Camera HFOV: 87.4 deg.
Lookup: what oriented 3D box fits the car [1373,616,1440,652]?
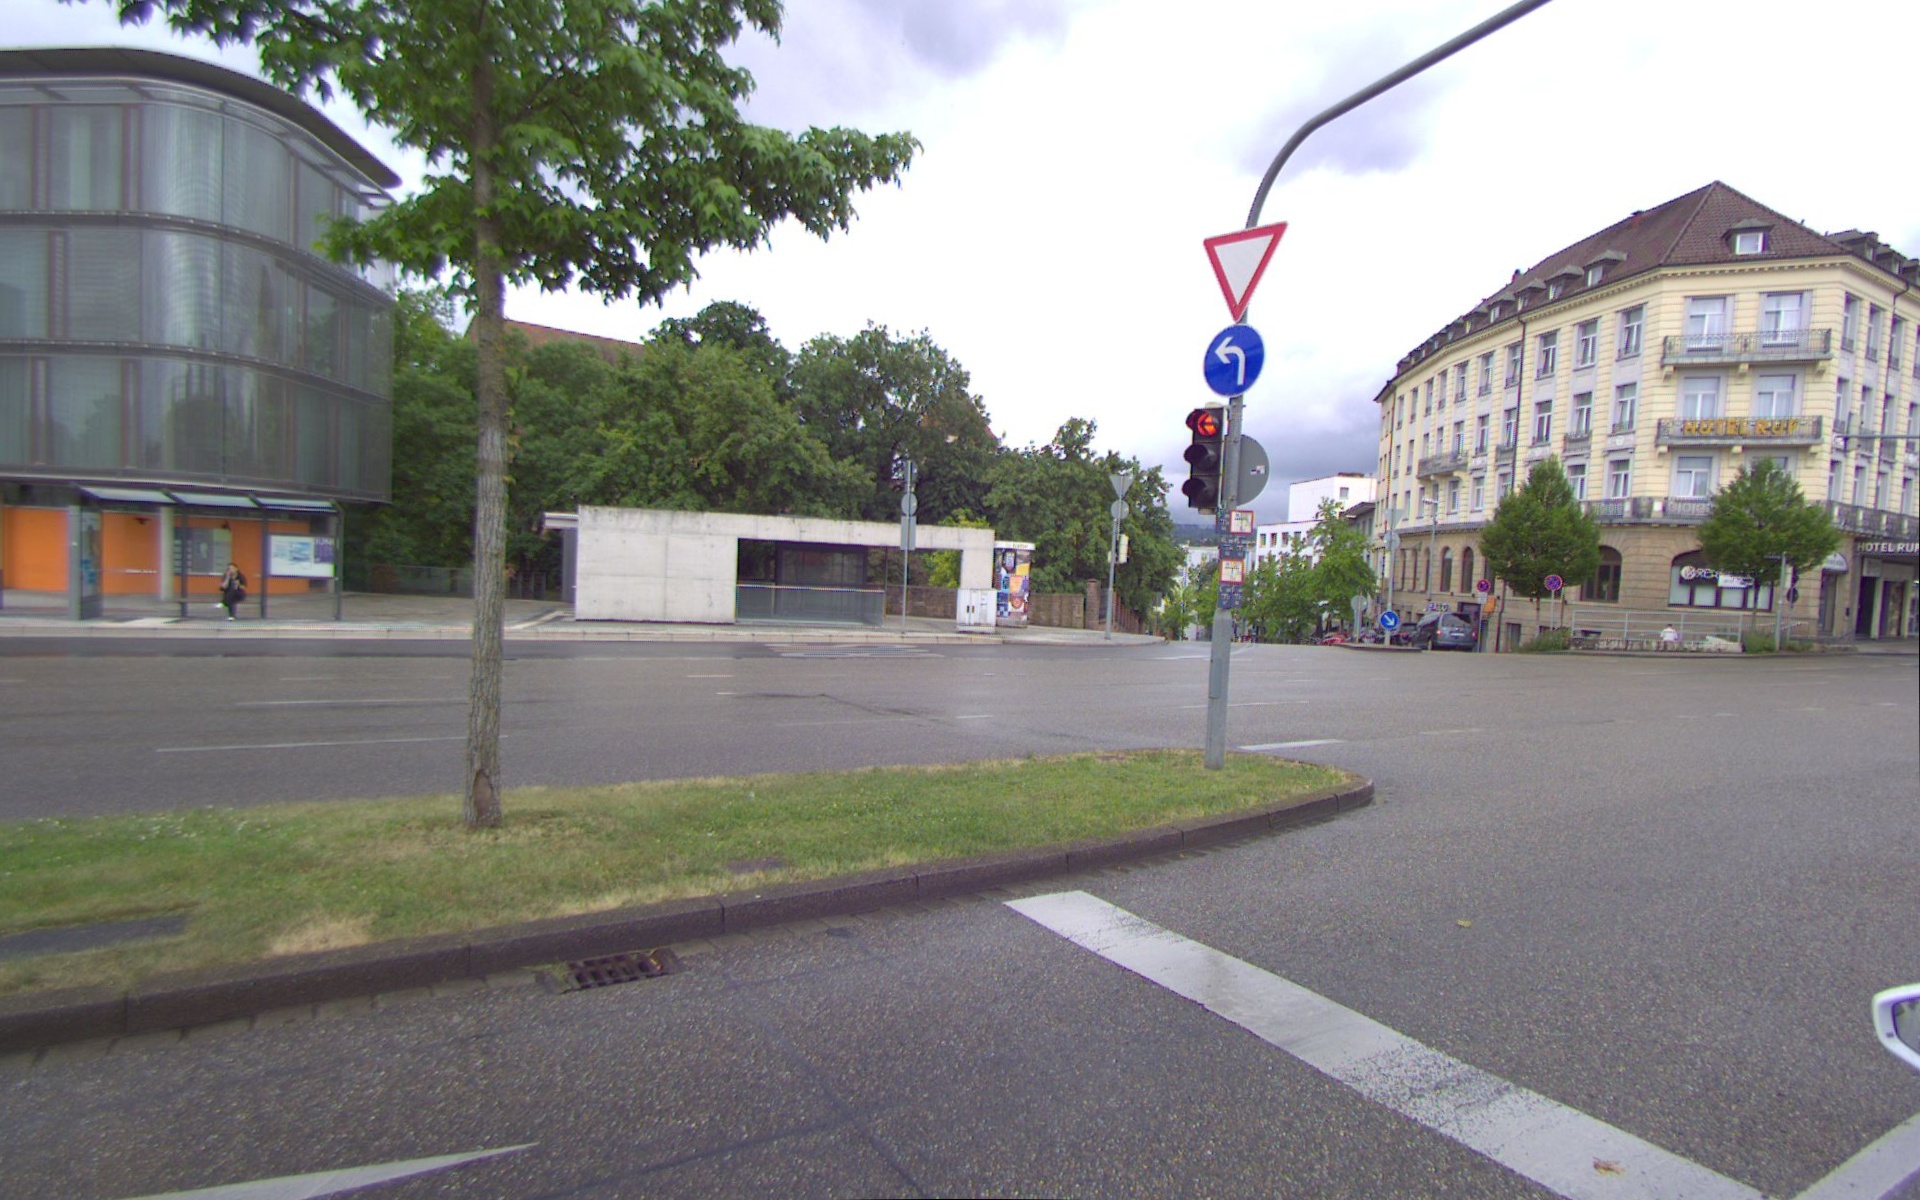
[{"bbox_3d":[22.898,1.710,51.693,1.959,1.662,4.002,2,0,6],"label":"car"}]

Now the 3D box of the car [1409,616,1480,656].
[{"bbox_3d":[21.726,1.569,45.186,1.764,1.589,4.002,2,1,9],"label":"car"}]

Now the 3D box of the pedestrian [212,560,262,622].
[{"bbox_3d":[-16.092,-0.190,22.376,0.780,1.341,0.798,1,1,-28],"label":"pedestrian"}]

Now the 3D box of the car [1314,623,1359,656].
[{"bbox_3d":[23.576,2.468,63.045,1.741,1.836,3.624,2,1,7],"label":"car"}]

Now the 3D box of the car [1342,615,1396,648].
[{"bbox_3d":[23.153,1.764,56.991,1.757,1.662,3.916,2,1,6],"label":"car"}]

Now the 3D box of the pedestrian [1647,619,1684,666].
[{"bbox_3d":[29.051,1.738,41.369,1.010,1.903,0.859,1,1,-30],"label":"pedestrian"}]
